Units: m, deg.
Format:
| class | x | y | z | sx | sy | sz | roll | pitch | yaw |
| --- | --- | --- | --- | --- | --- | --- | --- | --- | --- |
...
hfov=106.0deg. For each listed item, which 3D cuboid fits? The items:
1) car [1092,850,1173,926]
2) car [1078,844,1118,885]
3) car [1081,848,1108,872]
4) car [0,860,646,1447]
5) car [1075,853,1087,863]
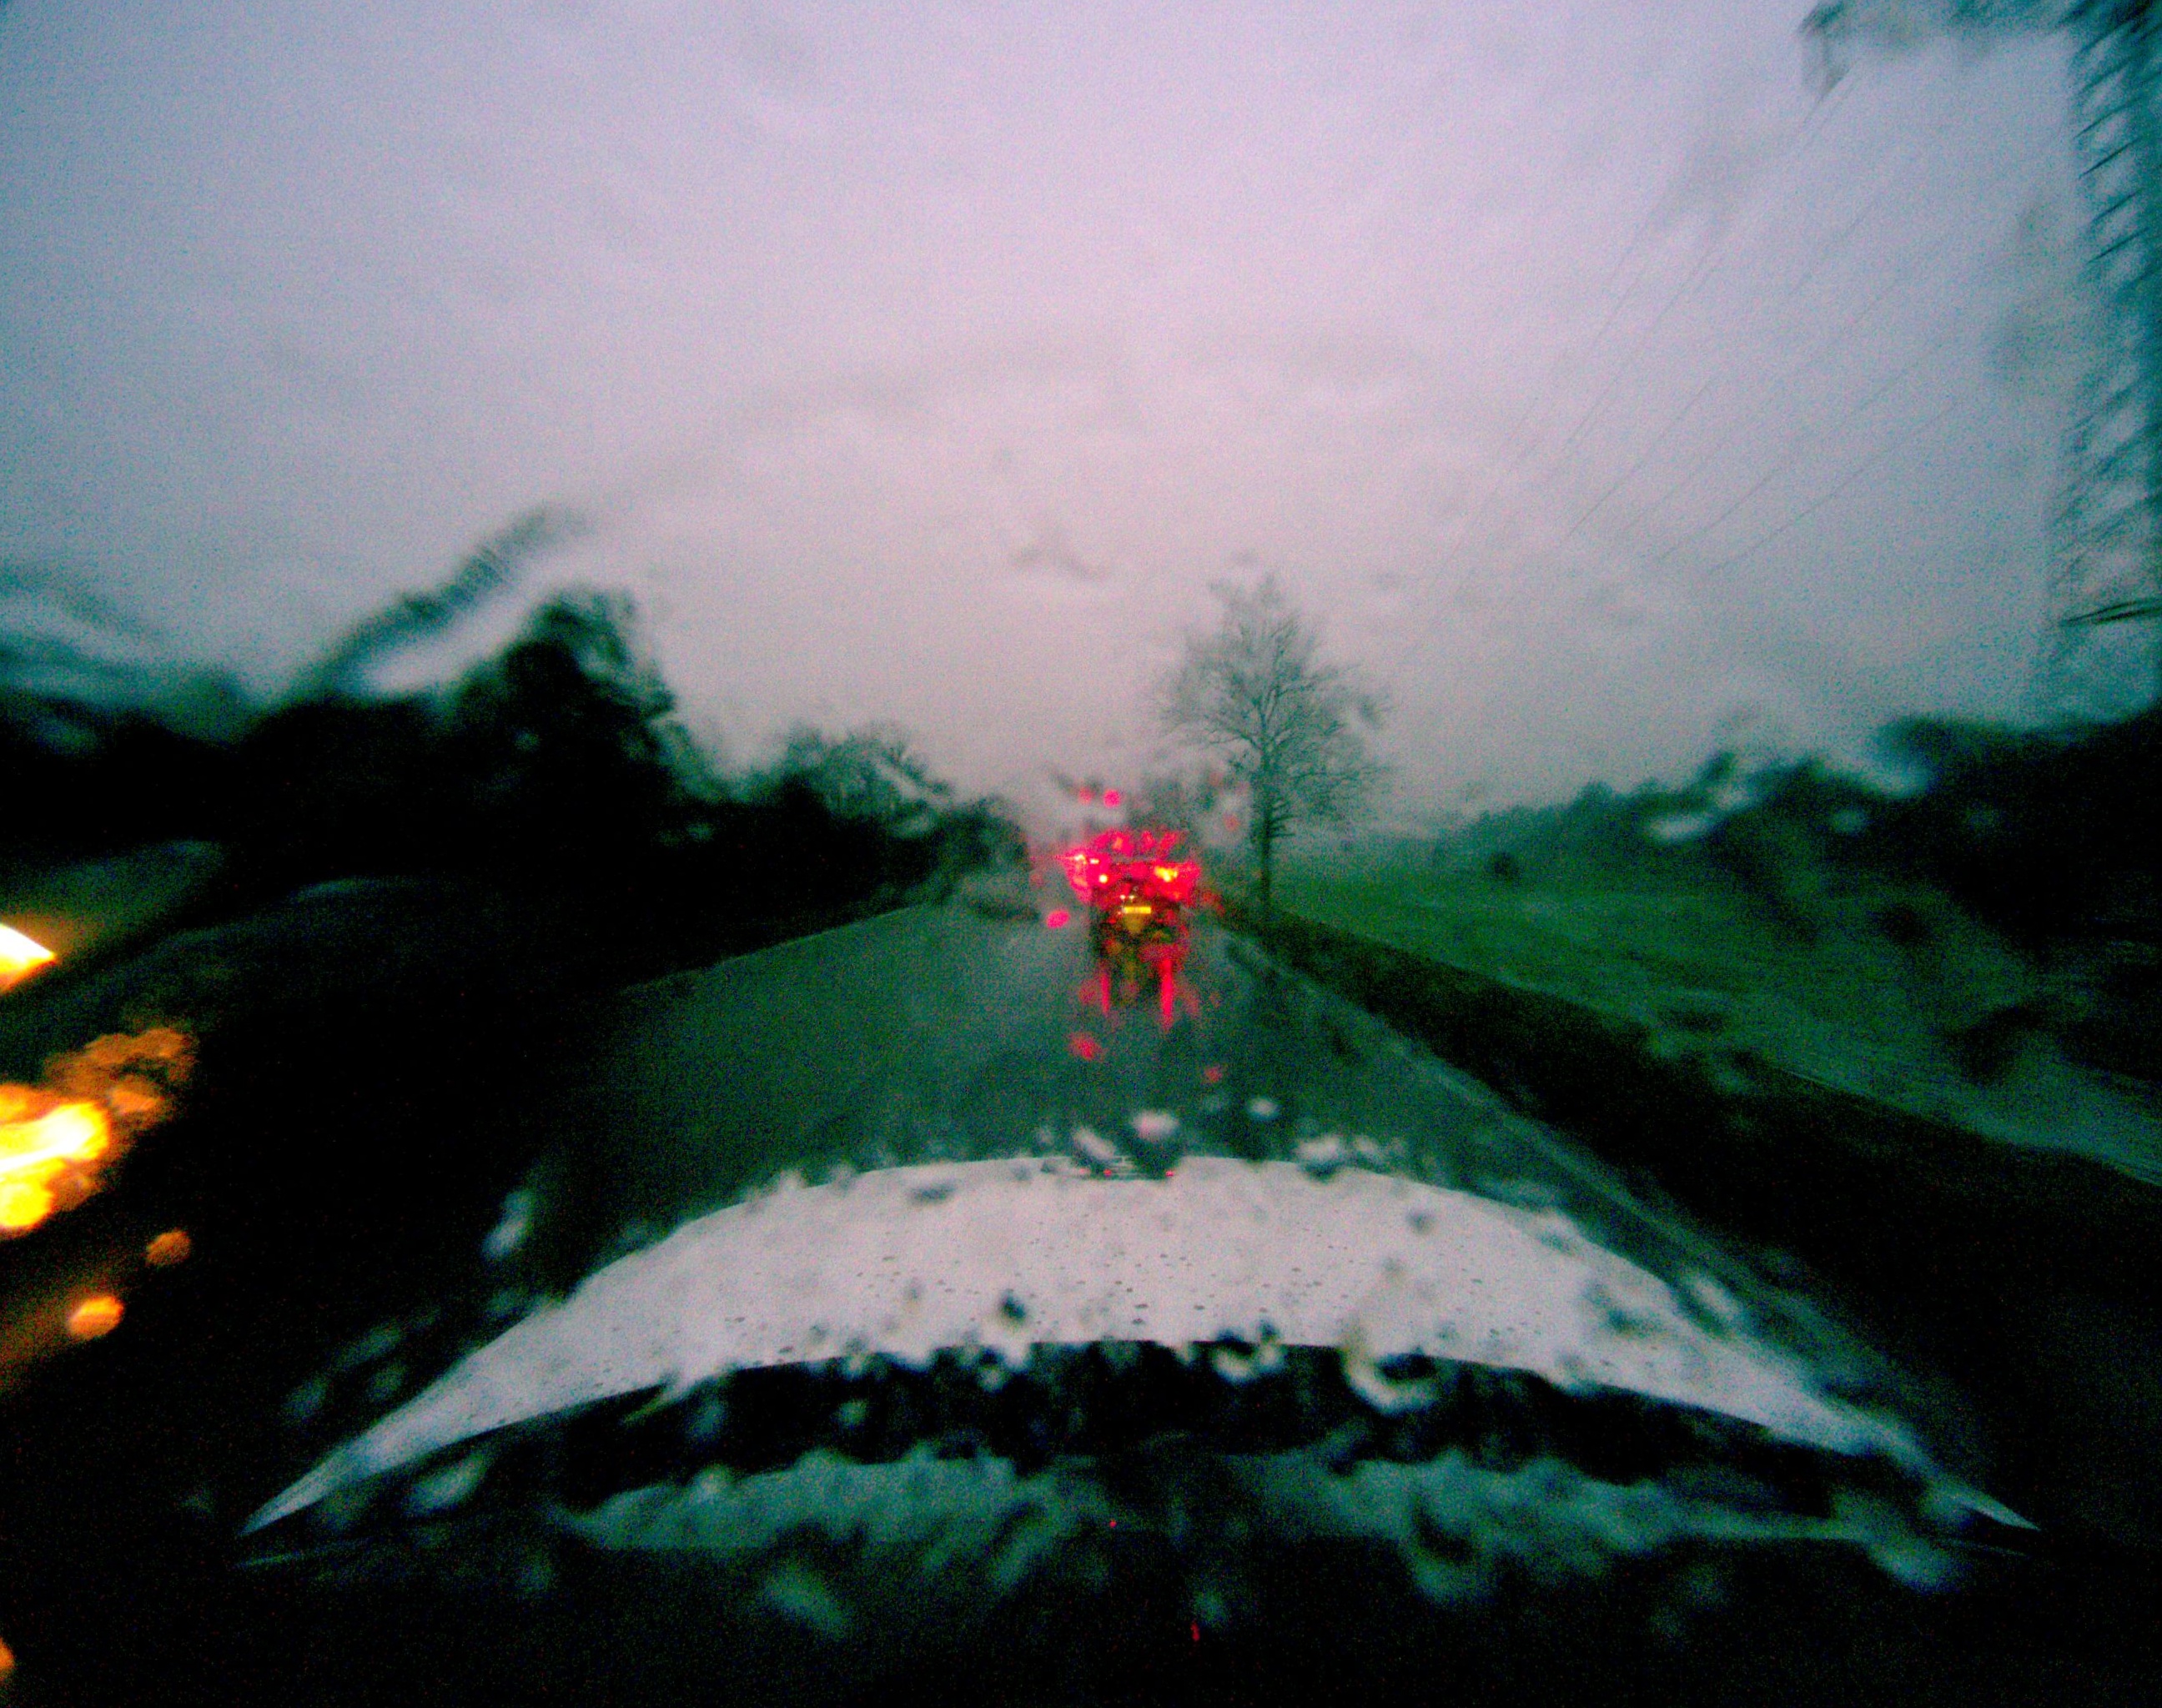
| class | x | y | z | sx | sy | sz | roll | pitch | yaw |
| --- | --- | --- | --- | --- | --- | --- | --- | --- | --- |
| car | 1.068 | 0.625 | 16.573 | 1.493 | 1.398 | 3.203 | 0 | 0 | 4 |
| car | 0.917 | 0.514 | 41.928 | 1.844 | 2.013 | 4.005 | 0 | 0 | 4 |
| car | 1.017 | 0.414 | 60.208 | 1.856 | 1.700 | 4.470 | 0 | 0 | 2 |
| car | -3.569 | 0.785 | 3.204 | 1.649 | 1.486 | 3.671 | 0 | 0 | 2 |
| car | 0.048 | 0.647 | 136.159 | 1.856 | 1.700 | 4.470 | 0 | 0 | 2 |
